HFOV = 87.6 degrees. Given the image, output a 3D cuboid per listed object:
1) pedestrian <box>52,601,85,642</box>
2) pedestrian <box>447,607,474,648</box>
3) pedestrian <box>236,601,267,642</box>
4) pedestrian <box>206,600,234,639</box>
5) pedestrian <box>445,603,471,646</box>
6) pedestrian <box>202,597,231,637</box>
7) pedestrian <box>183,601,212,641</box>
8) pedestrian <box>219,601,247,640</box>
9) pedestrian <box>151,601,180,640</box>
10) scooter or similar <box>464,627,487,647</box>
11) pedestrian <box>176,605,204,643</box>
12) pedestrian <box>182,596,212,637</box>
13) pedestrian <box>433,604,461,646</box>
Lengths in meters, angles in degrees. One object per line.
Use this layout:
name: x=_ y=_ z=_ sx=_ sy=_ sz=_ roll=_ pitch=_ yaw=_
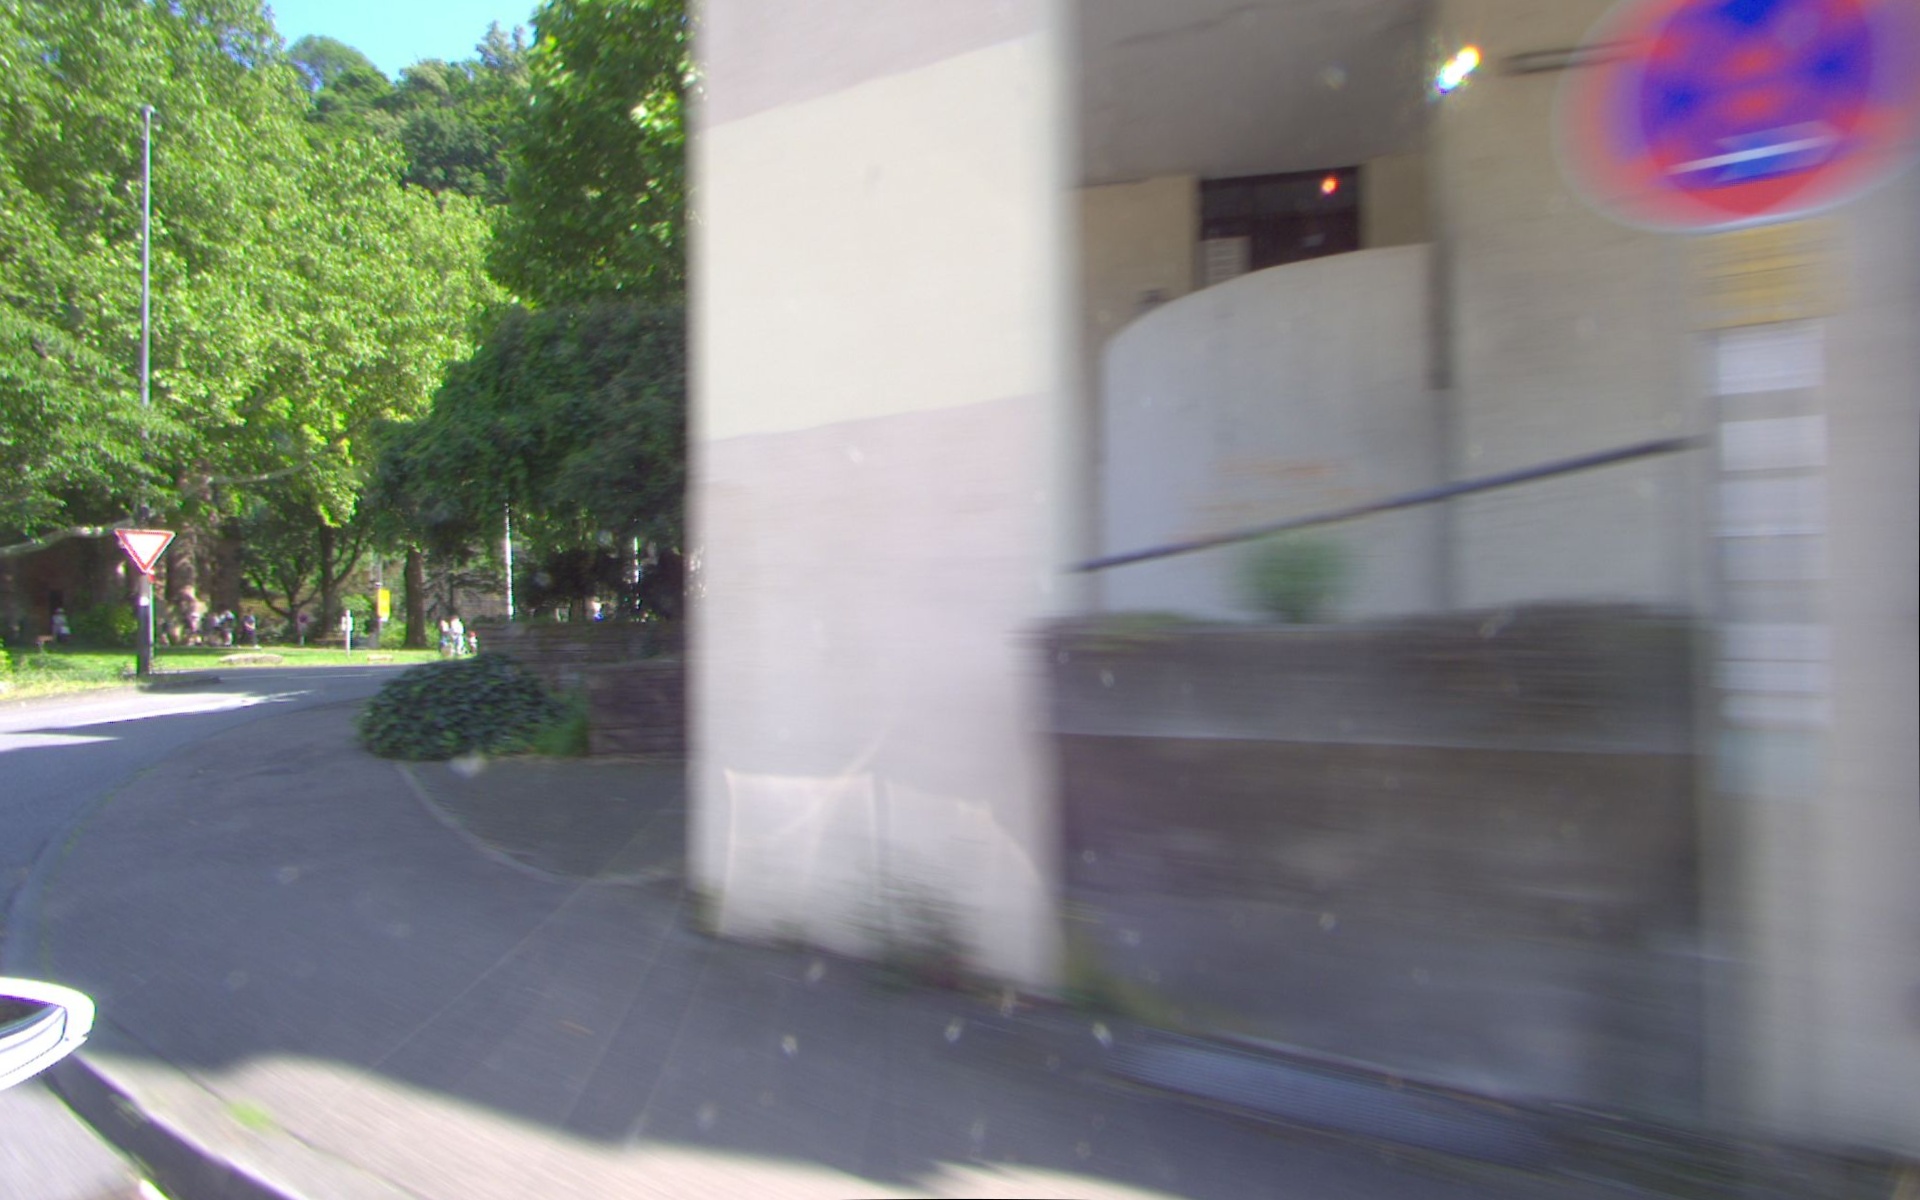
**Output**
pedestrian: x=-40.656 y=0.974 z=45.670 sx=0.860 sy=1.805 sz=0.793 roll=0 pitch=0 yaw=20
pedestrian: x=-22.298 y=1.227 z=44.680 sx=0.654 sy=1.778 sz=0.794 roll=0 pitch=-2 yaw=19
pedestrian: x=-30.813 y=0.933 z=43.534 sx=0.709 sy=1.778 sz=0.794 roll=0 pitch=-2 yaw=19
pedestrian: x=-35.005 y=0.931 z=47.372 sx=0.654 sy=1.778 sz=0.794 roll=0 pitch=-2 yaw=19
pedestrian: x=-20.923 y=1.029 z=41.754 sx=0.747 sy=1.779 sz=0.764 roll=0 pitch=0 yaw=-4
pedestrian: x=-33.982 y=0.782 z=45.757 sx=0.654 sy=1.778 sz=0.794 roll=0 pitch=-2 yaw=19
pedestrian: x=-35.270 y=0.975 z=46.320 sx=0.654 sy=1.778 sz=0.794 roll=0 pitch=-2 yaw=19
pedestrian: x=-34.134 y=0.968 z=47.031 sx=0.654 sy=1.778 sz=0.794 roll=0 pitch=-2 yaw=19
pedestrian: x=-37.088 y=0.957 z=46.744 sx=0.654 sy=1.778 sz=0.794 roll=0 pitch=-2 yaw=19
scooter or similar: x=-20.201 y=1.539 z=41.739 sx=0.719 sy=0.823 sz=0.570 roll=0 pitch=0 yaw=-4
pedestrian: x=-36.767 y=1.135 z=47.832 sx=0.654 sy=1.778 sz=0.794 roll=0 pitch=-2 yaw=19
pedestrian: x=-34.248 y=0.746 z=44.976 sx=0.654 sy=1.778 sz=0.794 roll=0 pitch=-2 yaw=19
pedestrian: x=-22.434 y=1.108 z=43.827 sx=0.654 sy=1.778 sz=0.794 roll=1 pitch=-2 yaw=19
